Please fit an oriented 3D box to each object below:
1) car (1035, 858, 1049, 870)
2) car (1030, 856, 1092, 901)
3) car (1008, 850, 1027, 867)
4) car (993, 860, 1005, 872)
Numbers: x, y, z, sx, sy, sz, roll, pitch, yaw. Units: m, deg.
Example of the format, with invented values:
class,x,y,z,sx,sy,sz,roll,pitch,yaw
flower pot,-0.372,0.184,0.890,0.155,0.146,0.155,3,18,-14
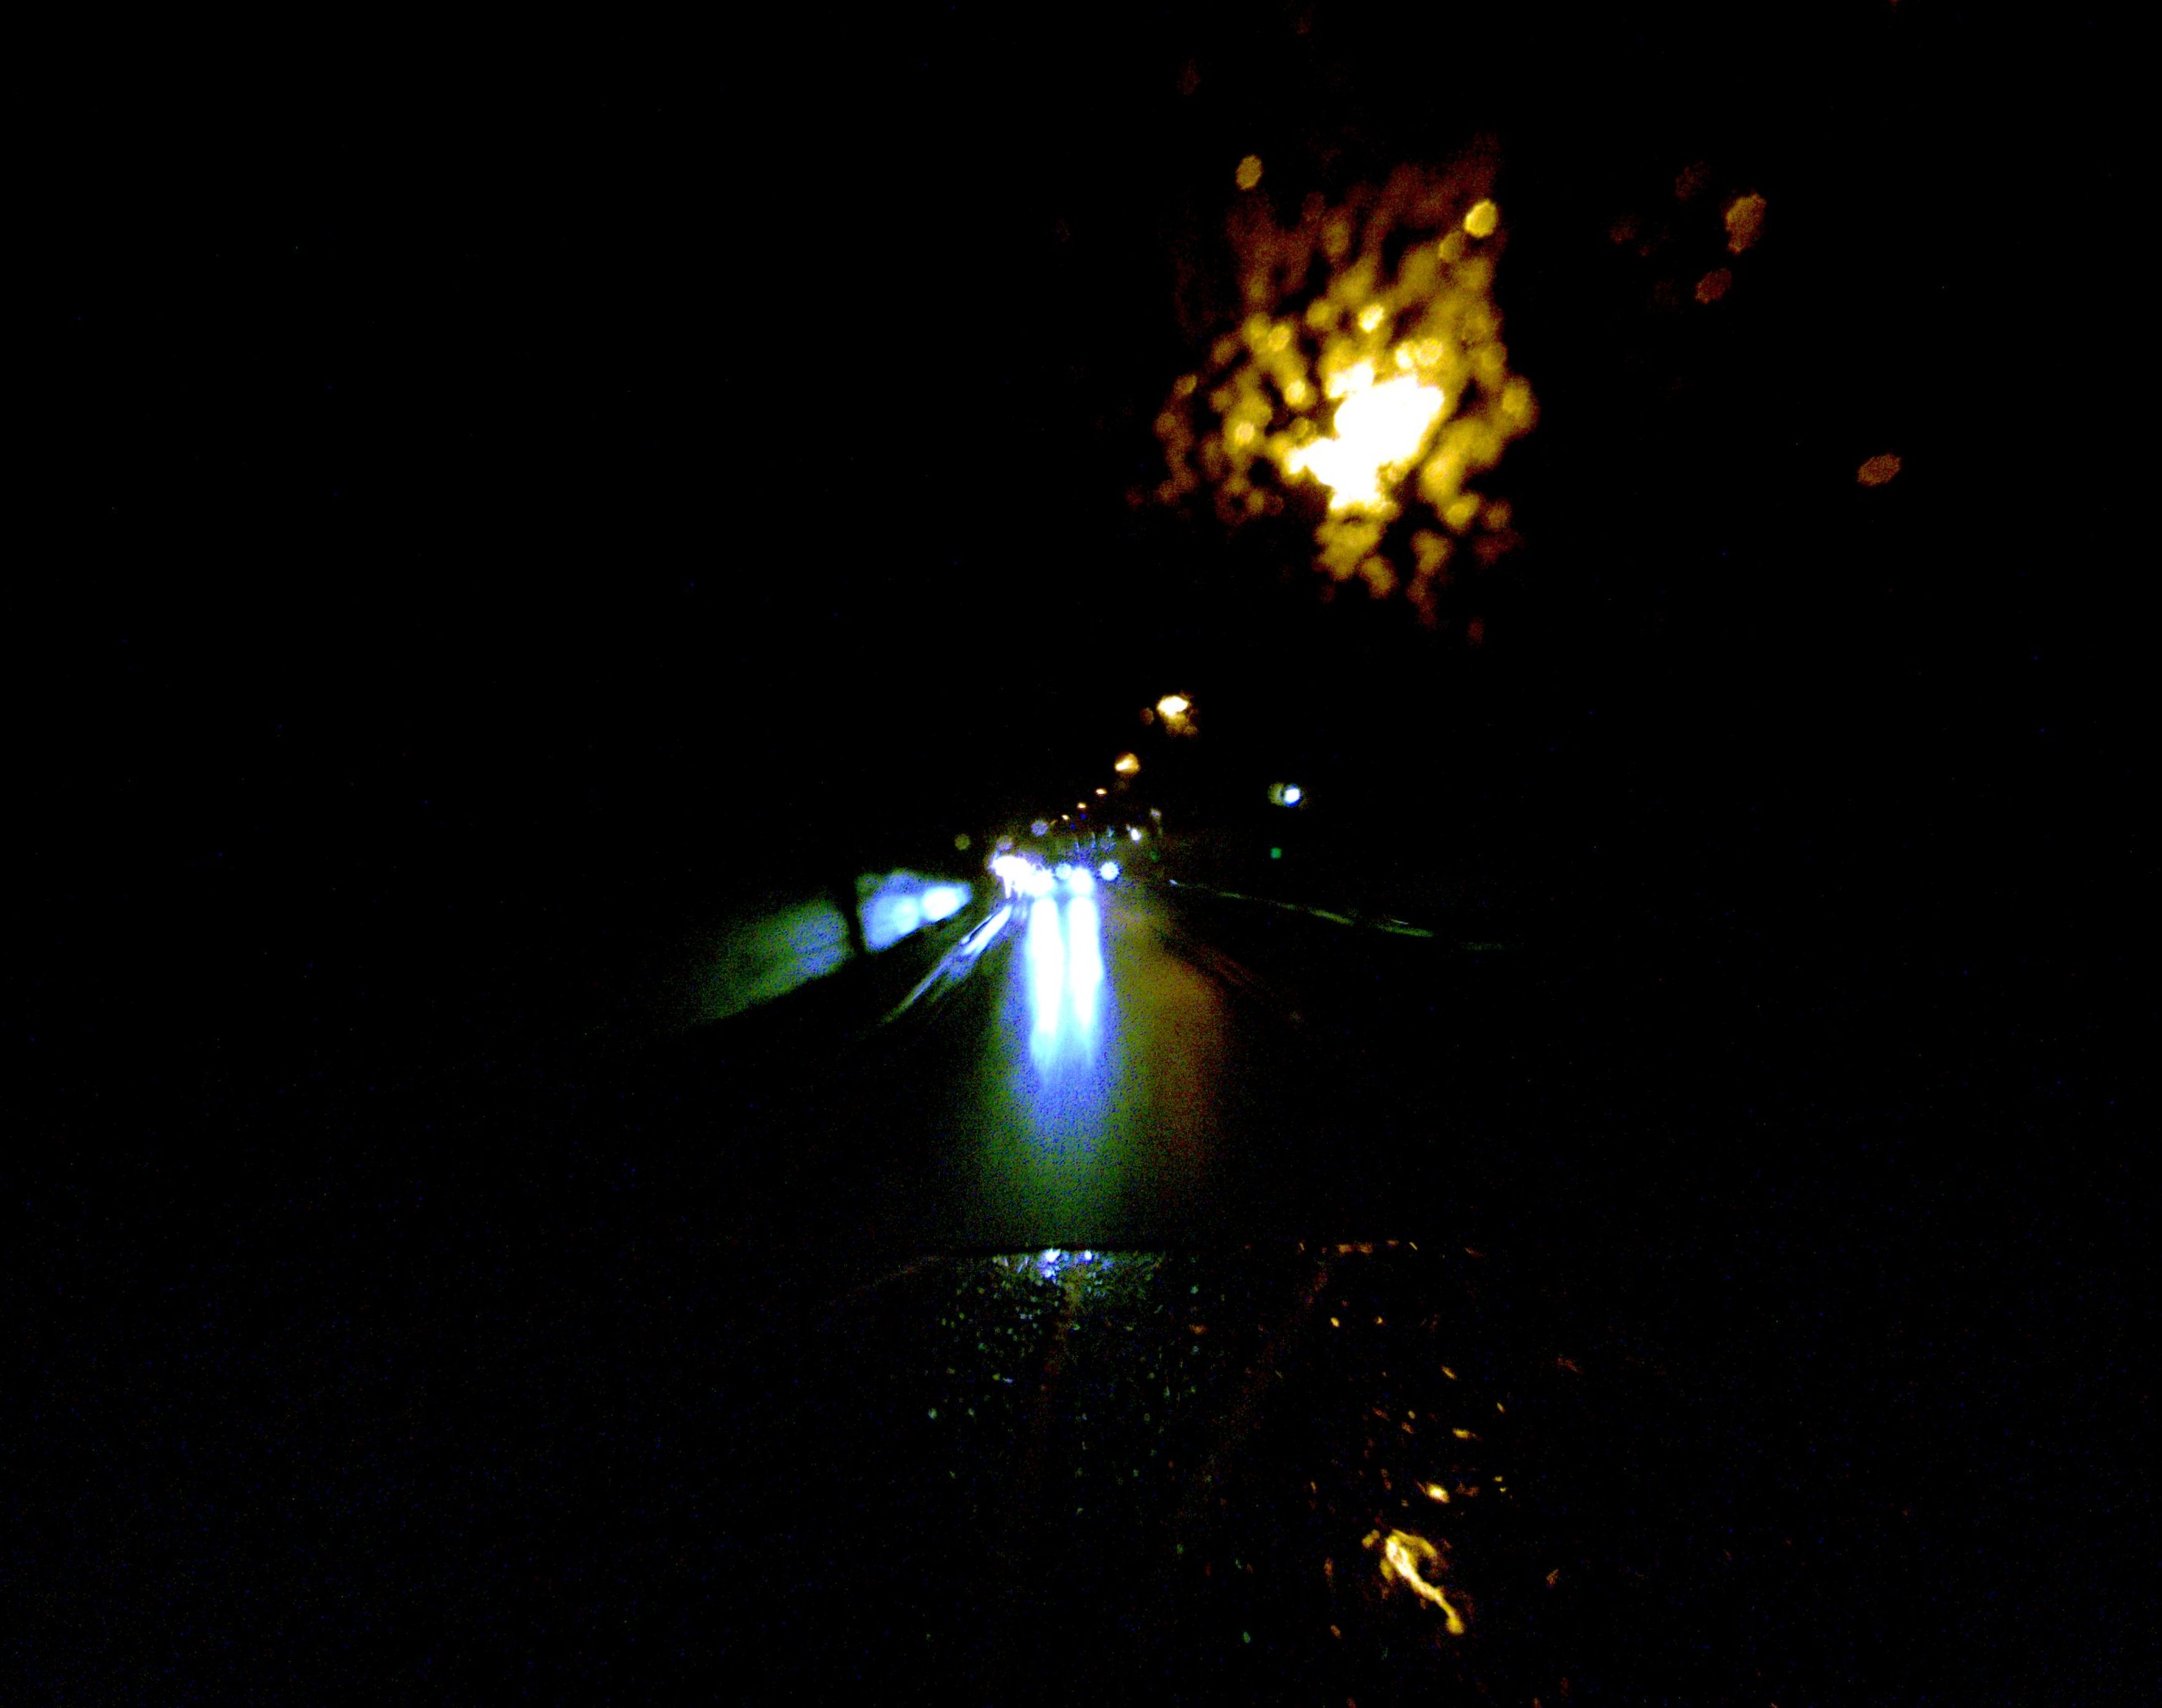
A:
class,x,y,z,sx,sy,sz,roll,pitch,yaw
car,-5.018,1.291,97.534,1.718,1.370,4.583,-2,0,-4
car,-0.910,0.919,31.027,2.000,1.585,4.605,-2,1,-7
car,-7.852,0.520,93.844,1.901,2.002,3.995,-1,1,-12
car,-12.533,1.847,116.822,1.709,1.761,3.998,0,1,-5
